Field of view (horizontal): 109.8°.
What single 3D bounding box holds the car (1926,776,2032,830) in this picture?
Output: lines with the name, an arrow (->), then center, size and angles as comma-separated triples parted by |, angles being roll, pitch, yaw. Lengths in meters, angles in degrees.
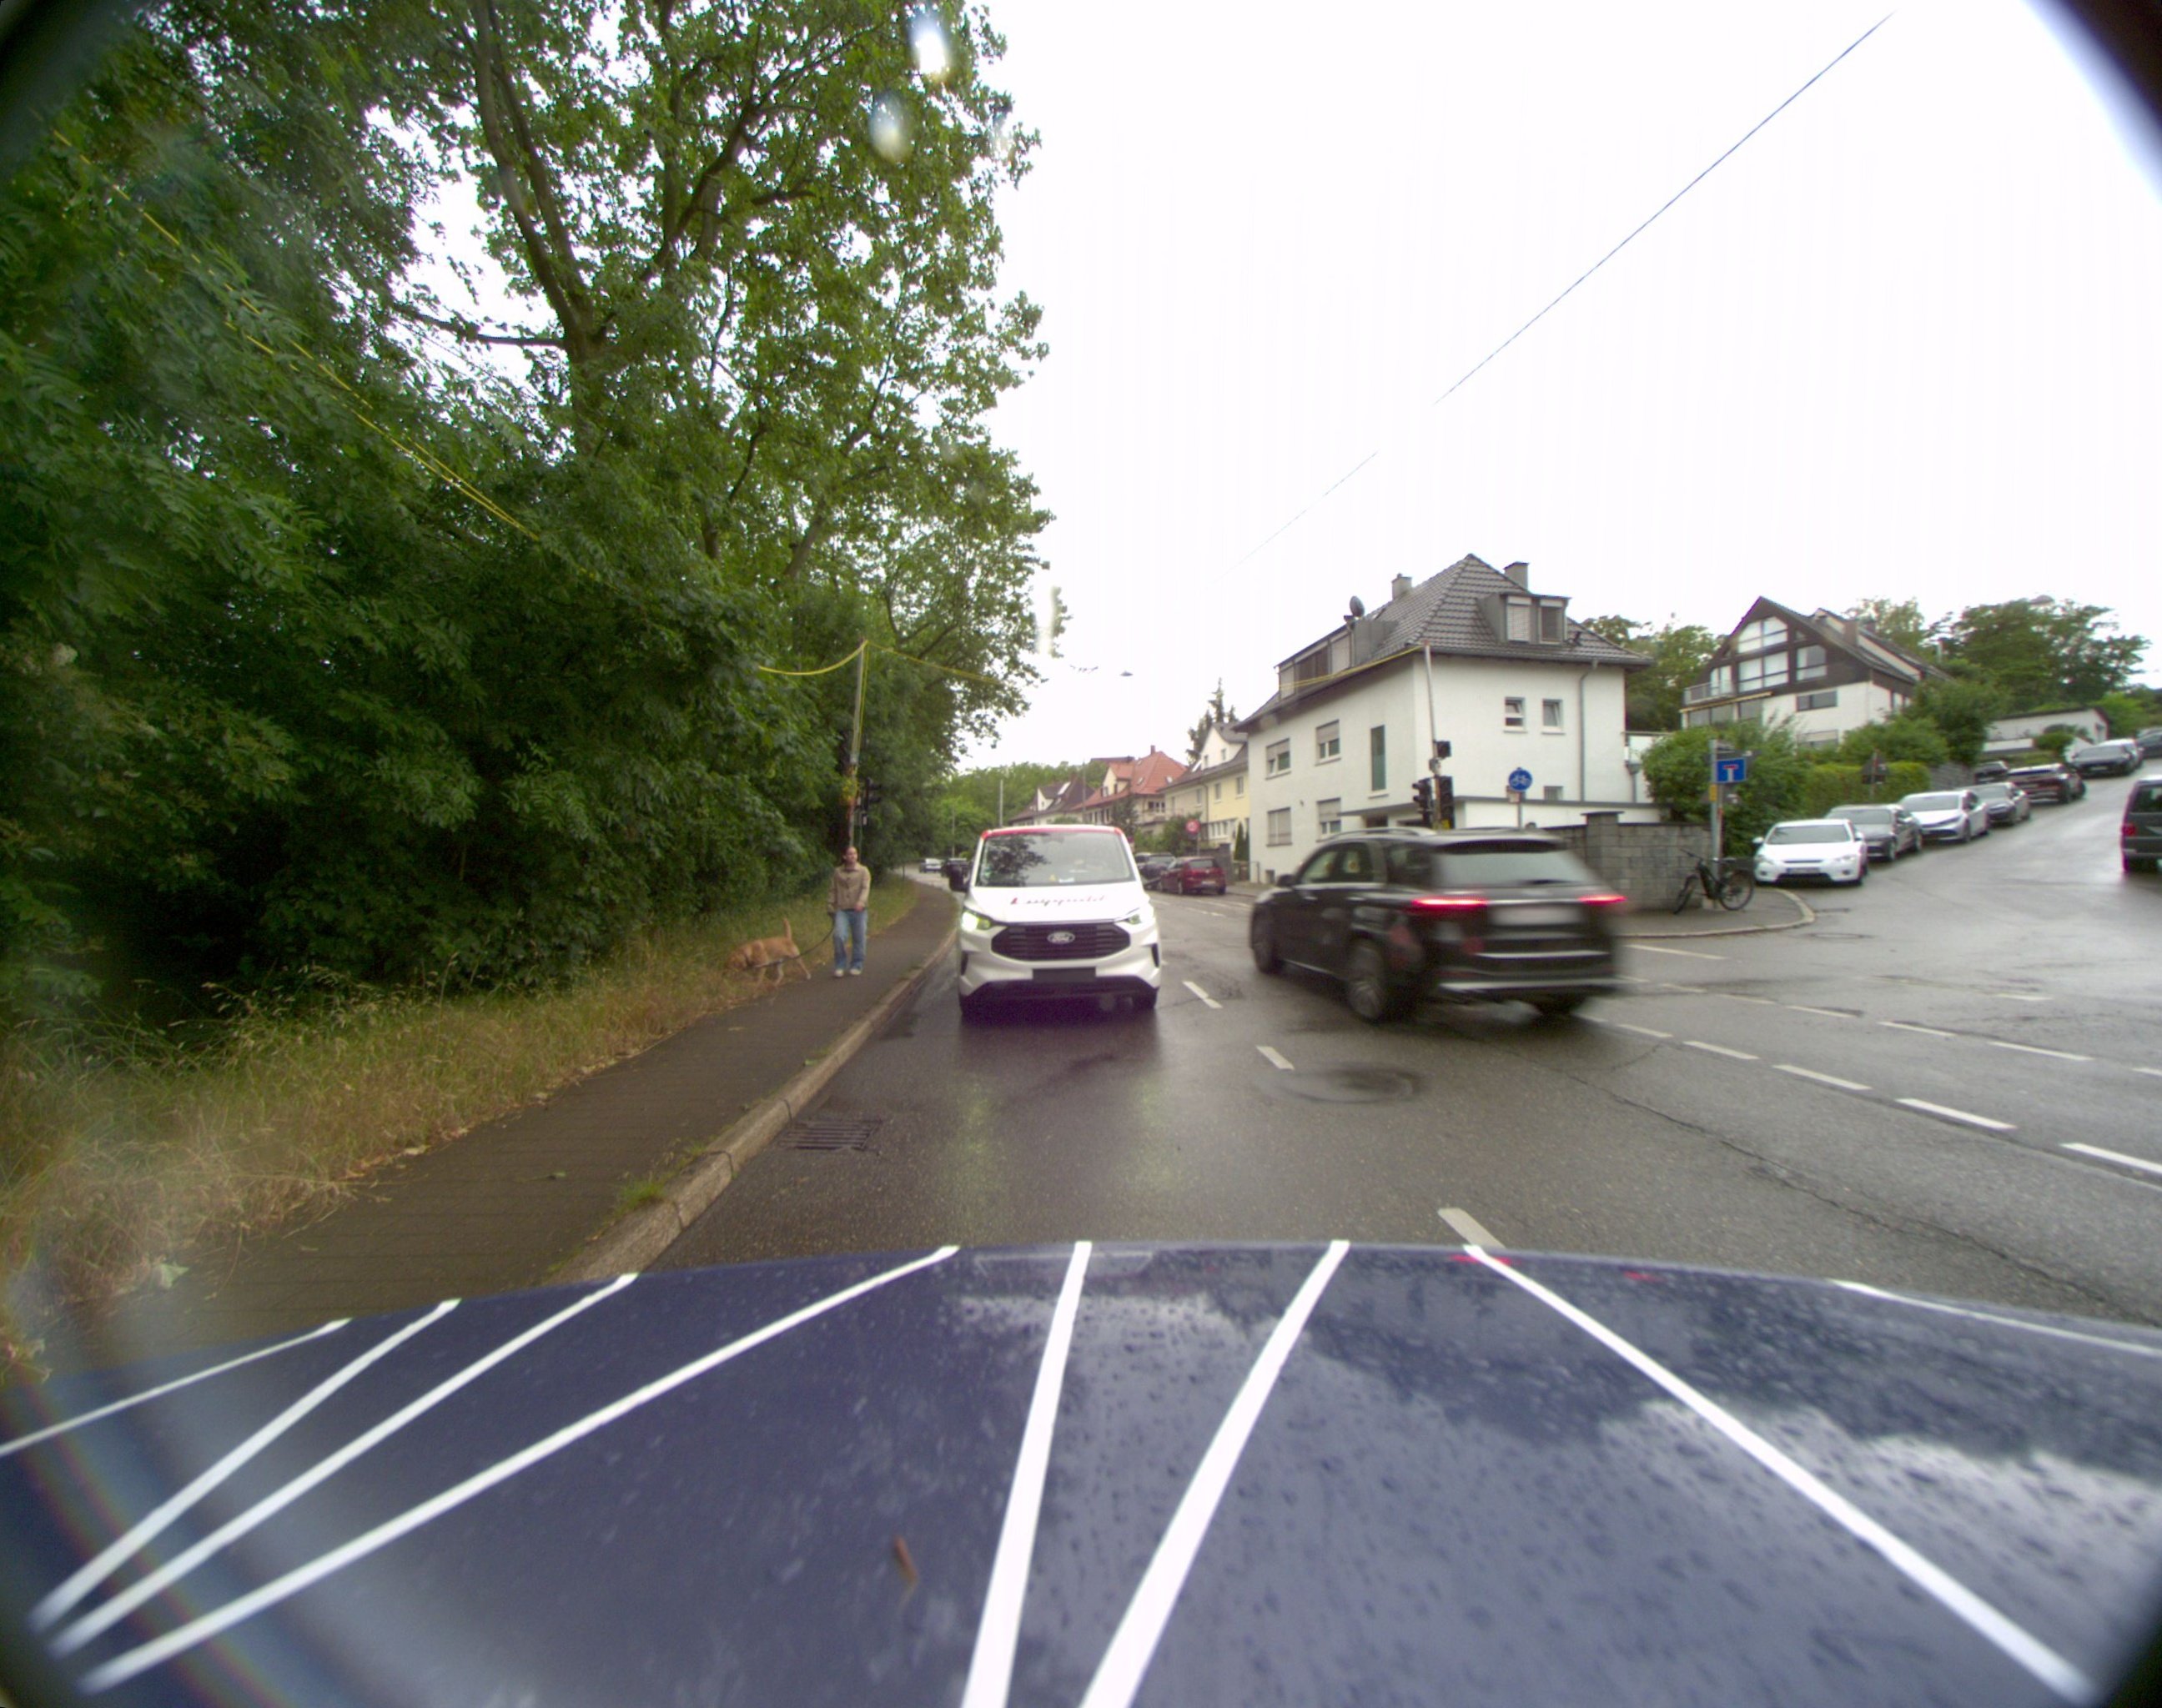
car -> 32.336, -1.842, 27.347 | 4.111, 1.430, 1.921 | -9, 4, -33

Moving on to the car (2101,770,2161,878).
car -> 23.890, -0.758, 16.276 | 4.497, 2.003, 1.996 | -7, 3, -31

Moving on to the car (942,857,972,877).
car -> -10.564, 1.094, 64.437 | 1.874, 1.612, 4.158 | -2, 0, -18

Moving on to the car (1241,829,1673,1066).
car -> 3.356, 0.712, 8.022 | 1.985, 1.737, 4.551 | -1, 0, -5

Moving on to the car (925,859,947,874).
car -> -15.987, 1.396, 83.373 | 1.860, 1.518, 4.813 | -3, 0, -16

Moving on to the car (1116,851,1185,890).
car -> 3.140, 0.727, 35.051 | 1.798, 1.630, 4.150 | -1, 0, -15

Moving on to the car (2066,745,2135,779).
car -> 54.824, -4.897, 40.851 | 4.034, 1.511, 1.786 | -2, 0, -31

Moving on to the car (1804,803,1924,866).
car -> 22.472, -0.565, 21.774 | 3.910, 1.380, 1.719 | -7, 3, -34

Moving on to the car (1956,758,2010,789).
car -> 52.877, -4.666, 44.528 | 4.020, 1.545, 1.812 | -3, 1, -37

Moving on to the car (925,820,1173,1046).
car -> -0.245, 0.685, 9.170 | 2.102, 1.908, 5.090 | -2, 0, 1

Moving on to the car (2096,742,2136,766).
car -> 59.847, -5.761, 43.907 | 2.988, 1.191, 1.305 | -6, 3, -35

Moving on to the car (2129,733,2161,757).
car -> 68.334, -6.958, 47.706 | 1.286, 1.310, 2.945 | -3, 1, -36

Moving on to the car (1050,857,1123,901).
car -> 0.127, 0.903, 28.374 | 1.770, 1.454, 3.881 | -2, 0, -14

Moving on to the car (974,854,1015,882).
car -> -5.698, 0.859, 49.523 | 2.001, 1.664, 4.683 | -2, 0, -13

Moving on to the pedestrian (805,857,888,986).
pedestrian -> -2.849, 0.791, 9.306 | 0.735, 1.490, 0.785 | -1, 1, -1

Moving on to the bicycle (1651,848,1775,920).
bicycle -> 11.595, 0.533, 13.951 | 2.006, 1.233, 0.510 | -2, 3, -8

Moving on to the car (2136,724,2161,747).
car -> 81.129, -8.893, 55.966 | 1.754, 1.508, 3.961 | -3, 1, -35

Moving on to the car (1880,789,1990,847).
car -> 27.278, -1.161, 24.246 | 3.951, 1.462, 1.755 | -7, 3, -33

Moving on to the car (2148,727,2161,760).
car -> 72.475, -7.470, 48.990 | 2.003, 2.000, 3.993 | -2, -4, -32

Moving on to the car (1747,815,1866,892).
car -> 17.784, -0.054, 18.552 | 4.126, 1.455, 1.849 | -7, 4, -43

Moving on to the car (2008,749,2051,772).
car -> 57.249, -5.657, 45.875 | 3.656, 1.205, 1.577 | -7, 3, -38

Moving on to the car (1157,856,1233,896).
car -> 4.392, 0.813, 29.923 | 1.787, 1.423, 3.844 | -2, 0, -10

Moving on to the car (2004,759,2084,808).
car -> 40.728, -2.996, 32.125 | 4.004, 1.617, 1.638 | -8, 4, -32

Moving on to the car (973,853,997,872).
car -> -9.594, 0.835, 75.974 | 1.882, 1.814, 4.121 | -2, 0, -14
